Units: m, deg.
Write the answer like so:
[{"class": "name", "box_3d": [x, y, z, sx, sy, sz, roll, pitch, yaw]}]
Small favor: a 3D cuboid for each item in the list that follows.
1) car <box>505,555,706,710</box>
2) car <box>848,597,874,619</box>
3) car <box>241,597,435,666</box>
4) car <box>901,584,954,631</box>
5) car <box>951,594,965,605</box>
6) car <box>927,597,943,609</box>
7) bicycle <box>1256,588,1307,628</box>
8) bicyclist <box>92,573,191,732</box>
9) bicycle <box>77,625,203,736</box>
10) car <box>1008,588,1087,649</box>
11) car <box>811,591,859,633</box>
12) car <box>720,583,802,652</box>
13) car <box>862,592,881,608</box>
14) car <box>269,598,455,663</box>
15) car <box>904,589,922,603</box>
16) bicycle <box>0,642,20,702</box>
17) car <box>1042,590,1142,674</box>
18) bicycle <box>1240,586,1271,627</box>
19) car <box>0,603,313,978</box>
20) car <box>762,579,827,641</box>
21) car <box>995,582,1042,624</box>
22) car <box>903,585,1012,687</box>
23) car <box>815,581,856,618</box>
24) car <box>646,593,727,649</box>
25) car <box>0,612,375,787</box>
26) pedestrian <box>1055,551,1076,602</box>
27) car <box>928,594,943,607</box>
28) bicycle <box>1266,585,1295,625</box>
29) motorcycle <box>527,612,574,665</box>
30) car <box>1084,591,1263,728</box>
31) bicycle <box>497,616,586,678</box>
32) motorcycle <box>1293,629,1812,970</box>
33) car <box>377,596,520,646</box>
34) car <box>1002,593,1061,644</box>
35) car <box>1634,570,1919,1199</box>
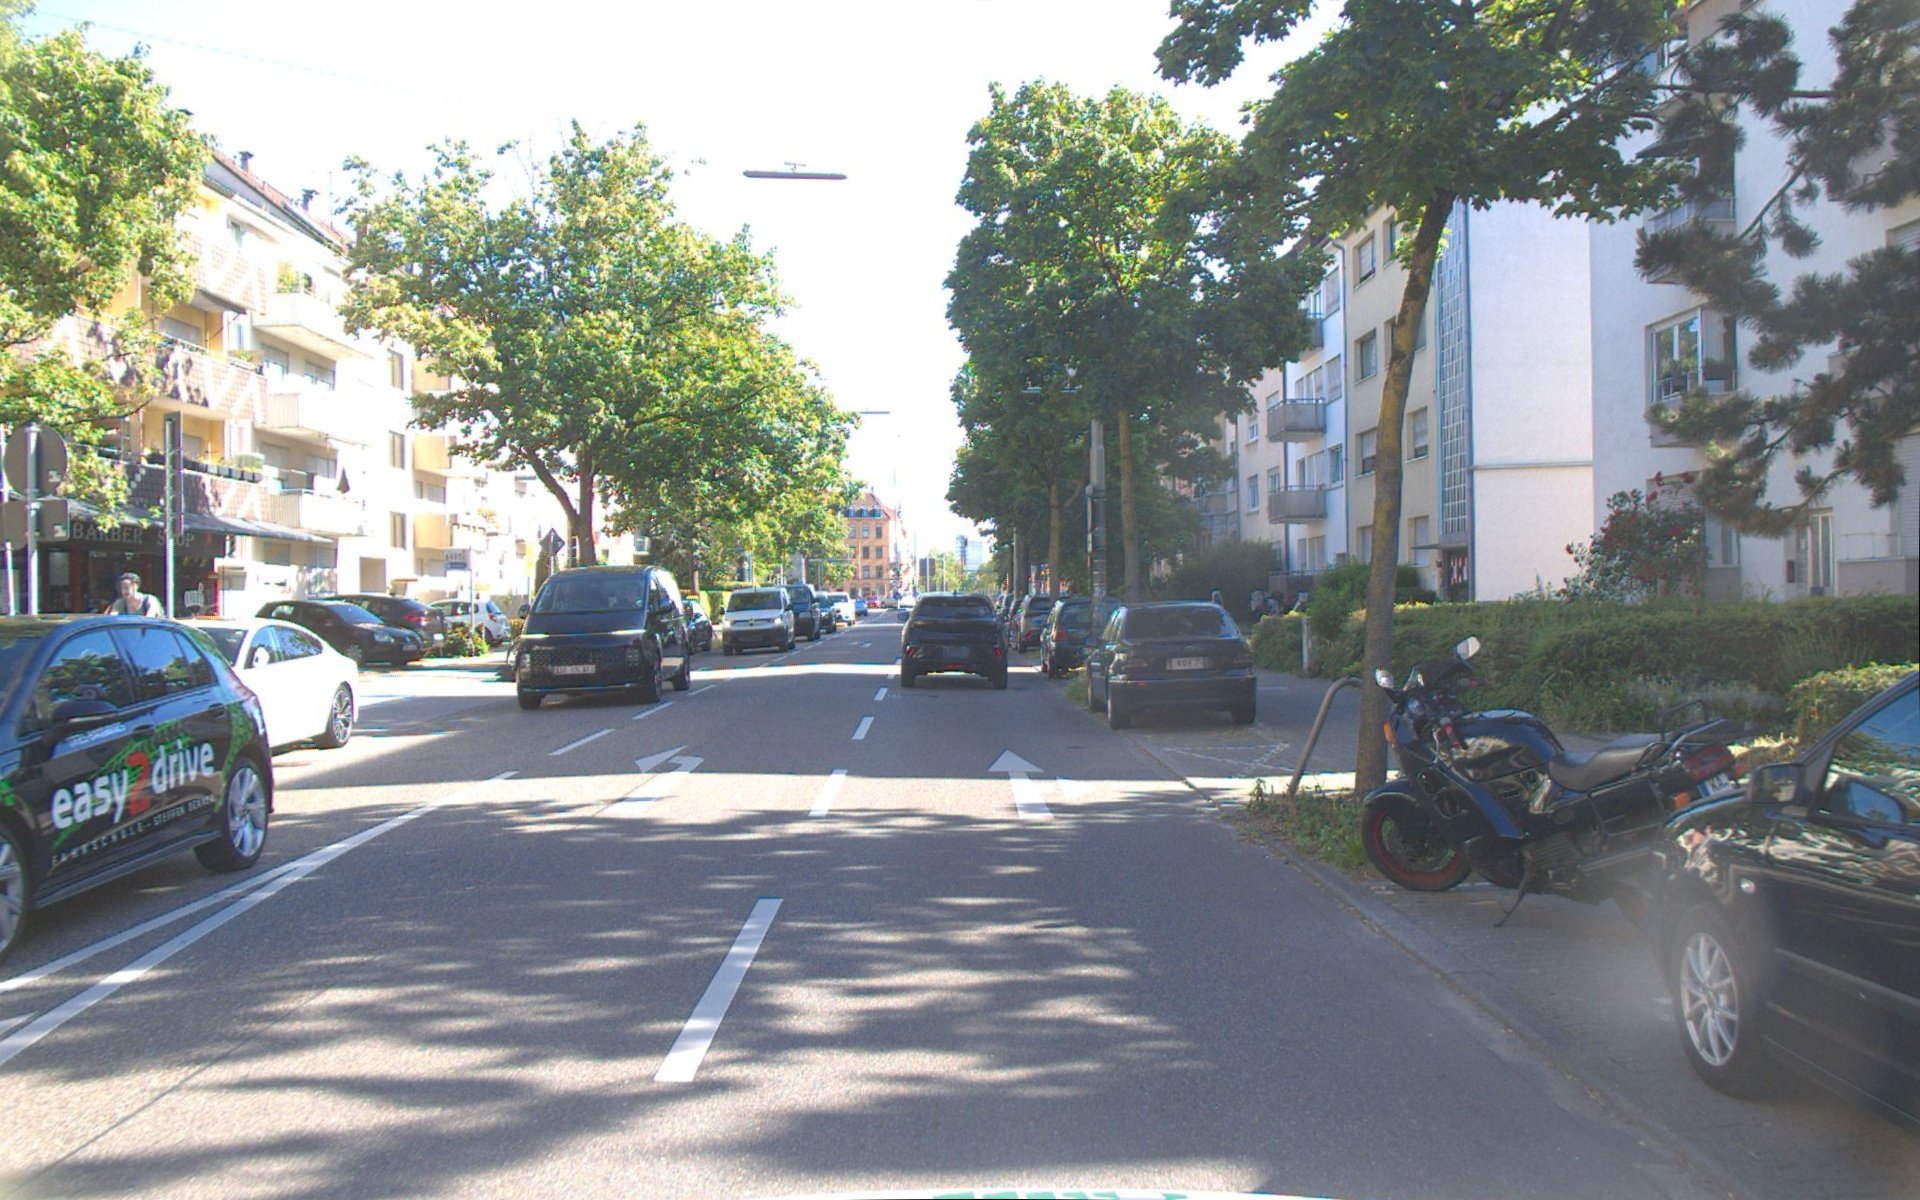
[{"class": "car", "box_3d": [-5.166, 0.420, 24.859, 1.976, 1.986, 5.176, -3, 0, -2]}, {"class": "car", "box_3d": [-7.019, 0.577, 117.575, 1.702, 1.405, 3.935, -2, 1, -2]}, {"class": "car", "box_3d": [-14.203, 0.699, 37.800, 3.903, 1.481, 1.734, 0, 1, 17]}, {"class": "car", "box_3d": [-1.140, 0.243, 58.730, 1.792, 1.606, 3.839, -1, 0, 0]}, {"class": "car", "box_3d": [-0.257, -0.111, 244.835, 1.952, 1.546, 4.000, 2, 0, 1]}, {"class": "car", "box_3d": [-3.091, 0.406, 205.856, 1.773, 1.431, 4.001, -1, 0, 2]}, {"class": "bicycle", "box_3d": [10.533, 0.269, 54.266, 1.506, 1.244, 0.463, -3, 0, 30]}, {"class": "bicyclist", "box_3d": [-9.857, 0.615, 19.959, 0.645, 1.856, 1.054, -1, 0, -1]}, {"class": "bicycle", "box_3d": [-9.833, 0.936, 19.925, 0.439, 1.213, 2.192, -1, 0, -1]}, {"class": "car", "box_3d": [2.277, 0.466, 44.071, 1.680, 1.515, 4.232, -1, 0, -2]}, {"class": "car", "box_3d": [-5.129, 0.462, 68.317, 1.684, 1.593, 4.341, -3, 0, -1]}, {"class": "car", "box_3d": [-5.549, 0.463, 46.536, 1.779, 1.773, 4.492, -3, 0, -1]}, {"class": "car", "box_3d": [-9.489, -0.030, 177.528, 1.754, 1.645, 4.000, -1, 0, 0]}, {"class": "car", "box_3d": [-14.529, 0.720, 40.291, 3.902, 1.486, 1.734, 0, 1, 8]}, {"class": "car", "box_3d": [-4.947, -0.441, 174.160, 1.735, 1.478, 3.885, -1, 0, 0]}, {"class": "bicycle", "box_3d": [-16.392, 1.243, 27.479, 0.394, 0.976, 1.760, -1, 1, 5]}, {"class": "car", "box_3d": [2.429, 0.554, 31.305, 1.657, 1.453, 4.148, -1, 0, 2]}, {"class": "bicycle", "box_3d": [9.979, 0.206, 55.899, 0.610, 1.309, 1.842, -3, 0, 0]}, {"class": "car", "box_3d": [-4.752, 0.816, 7.960, 1.657, 1.479, 4.172, -3, 0, -2]}, {"class": "car", "box_3d": [-5.718, 0.320, 57.516, 1.766, 1.944, 4.711, -3, 0, -1]}, {"class": "car", "box_3d": [2.283, 0.107, 65.267, 1.528, 1.541, 3.653, -3, 0, -3]}, {"class": "car", "box_3d": [-0.063, 0.565, 27.941, 1.710, 1.601, 3.557, 1, 0, -1]}, {"class": "car", "box_3d": [-6.236, -0.039, 83.181, 1.770, 1.676, 4.671, -3, 0, -2]}, {"class": "car", "box_3d": [-8.041, 0.581, 48.952, 1.687, 1.562, 4.679, 0, 0, -1]}, {"class": "car", "box_3d": [-7.507, 0.858, 16.372, 1.796, 1.413, 4.801, 0, 0, -1]}, {"class": "pedestrian", "box_3d": [3.615, -0.795, 56.705, 0.656, 1.711, 0.775, -1, 0, -1]}, {"class": "car", "box_3d": [-3.252, 0.062, 219.904, 1.952, 1.546, 4.000, 2, 0, 1]}, {"class": "bicycle", "box_3d": [10.771, 0.160, 55.634, 0.579, 1.309, 1.689, -3, 0, 0]}, {"class": "motorcycle", "box_3d": [-9.225, 0.857, 37.322, 0.451, 1.145, 1.718, 0, 1, 7]}, {"class": "car", "box_3d": [2.489, 0.629, 20.191, 1.554, 1.420, 4.453, -2, 0, 0]}, {"class": "bicycle", "box_3d": [-8.303, 0.922, 32.795, 1.893, 1.155, 0.462, 1, 1, 27]}, {"class": "motorcycle", "box_3d": [2.615, 0.800, 7.692, 0.689, 1.294, 2.409, -3, 0, -28]}, {"class": "car", "box_3d": [-16.010, 0.644, 51.873, 3.906, 1.512, 1.880, 0, 1, -2]}, {"class": "car", "box_3d": [2.116, 0.528, 49.944, 1.579, 1.407, 3.976, -1, 0, 0]}, {"class": "car", "box_3d": [3.077, 0.680, 3.777, 1.587, 1.525, 3.649, -2, 0, 0]}]
